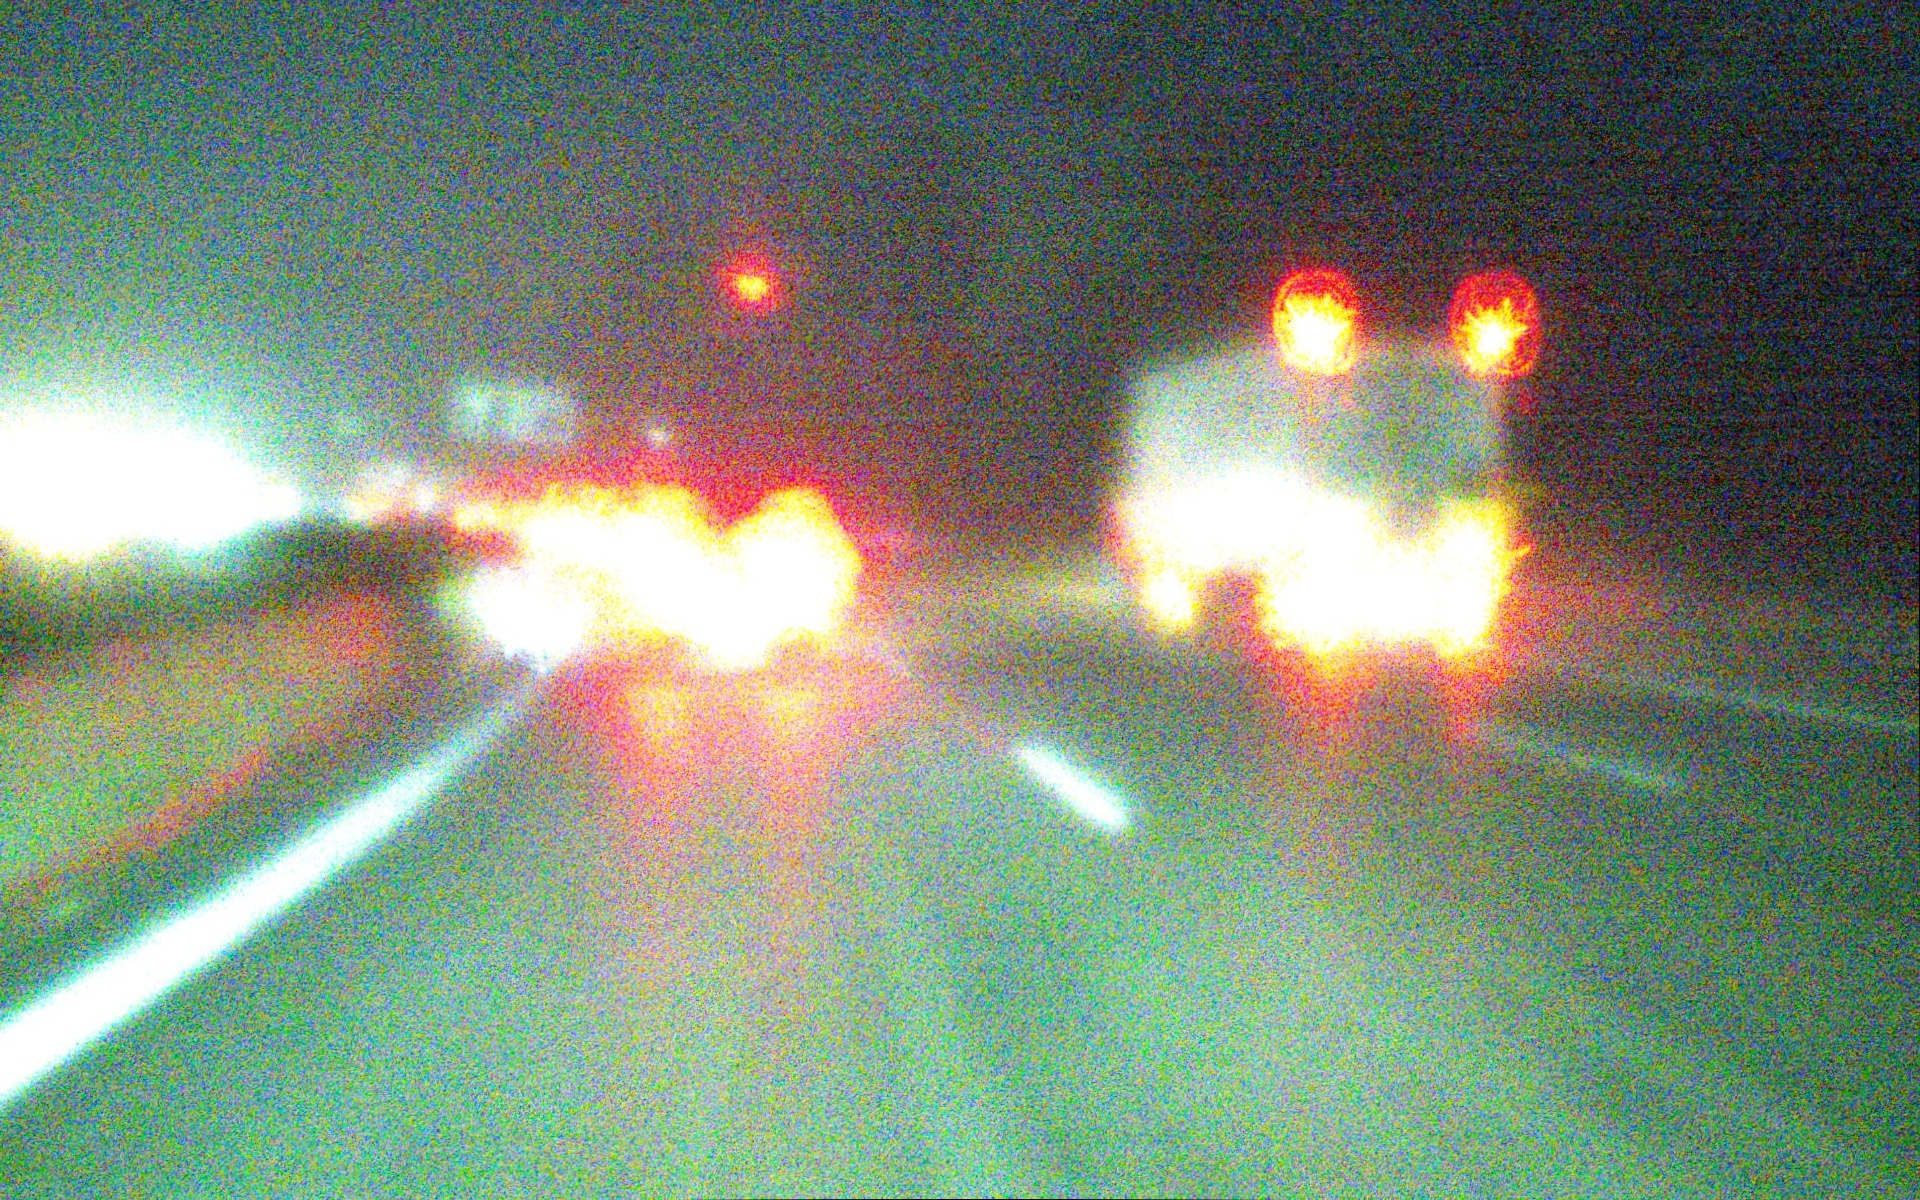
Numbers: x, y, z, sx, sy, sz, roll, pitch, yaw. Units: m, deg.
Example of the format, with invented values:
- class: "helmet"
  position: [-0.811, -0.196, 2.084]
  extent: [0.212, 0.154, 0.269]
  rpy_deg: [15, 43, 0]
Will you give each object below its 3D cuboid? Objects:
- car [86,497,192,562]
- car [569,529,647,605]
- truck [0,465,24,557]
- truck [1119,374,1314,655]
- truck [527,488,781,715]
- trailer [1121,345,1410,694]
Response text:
- class: "car"
  position: [-21.697, -1.890, 90.959]
  extent: [1.993, 1.473, 4.001]
  rpy_deg: [5, 2, -4]
- class: "car"
  position: [-9.636, -0.905, 93.981]
  extent: [1.993, 2.007, 4.001]
  rpy_deg: [0, 1, -7]
- class: "truck"
  position: [-56.515, -5.310, 201.172]
  extent: [2.751, 5.080, 5.885]
  rpy_deg: [5, 2, -17]
- class: "truck"
  position: [4.042, -1.362, 55.150]
  extent: [2.710, 4.227, 5.293]
  rpy_deg: [1, 1, 1]
- class: "truck"
  position: [-3.258, -0.090, 37.931]
  extent: [2.145, 2.070, 6.604]
  rpy_deg: [5, 2, -1]
- class: "trailer"
  position: [4.043, -1.159, 48.661]
  extent: [2.739, 4.233, 13.373]
  rpy_deg: [-1, 2, -1]
